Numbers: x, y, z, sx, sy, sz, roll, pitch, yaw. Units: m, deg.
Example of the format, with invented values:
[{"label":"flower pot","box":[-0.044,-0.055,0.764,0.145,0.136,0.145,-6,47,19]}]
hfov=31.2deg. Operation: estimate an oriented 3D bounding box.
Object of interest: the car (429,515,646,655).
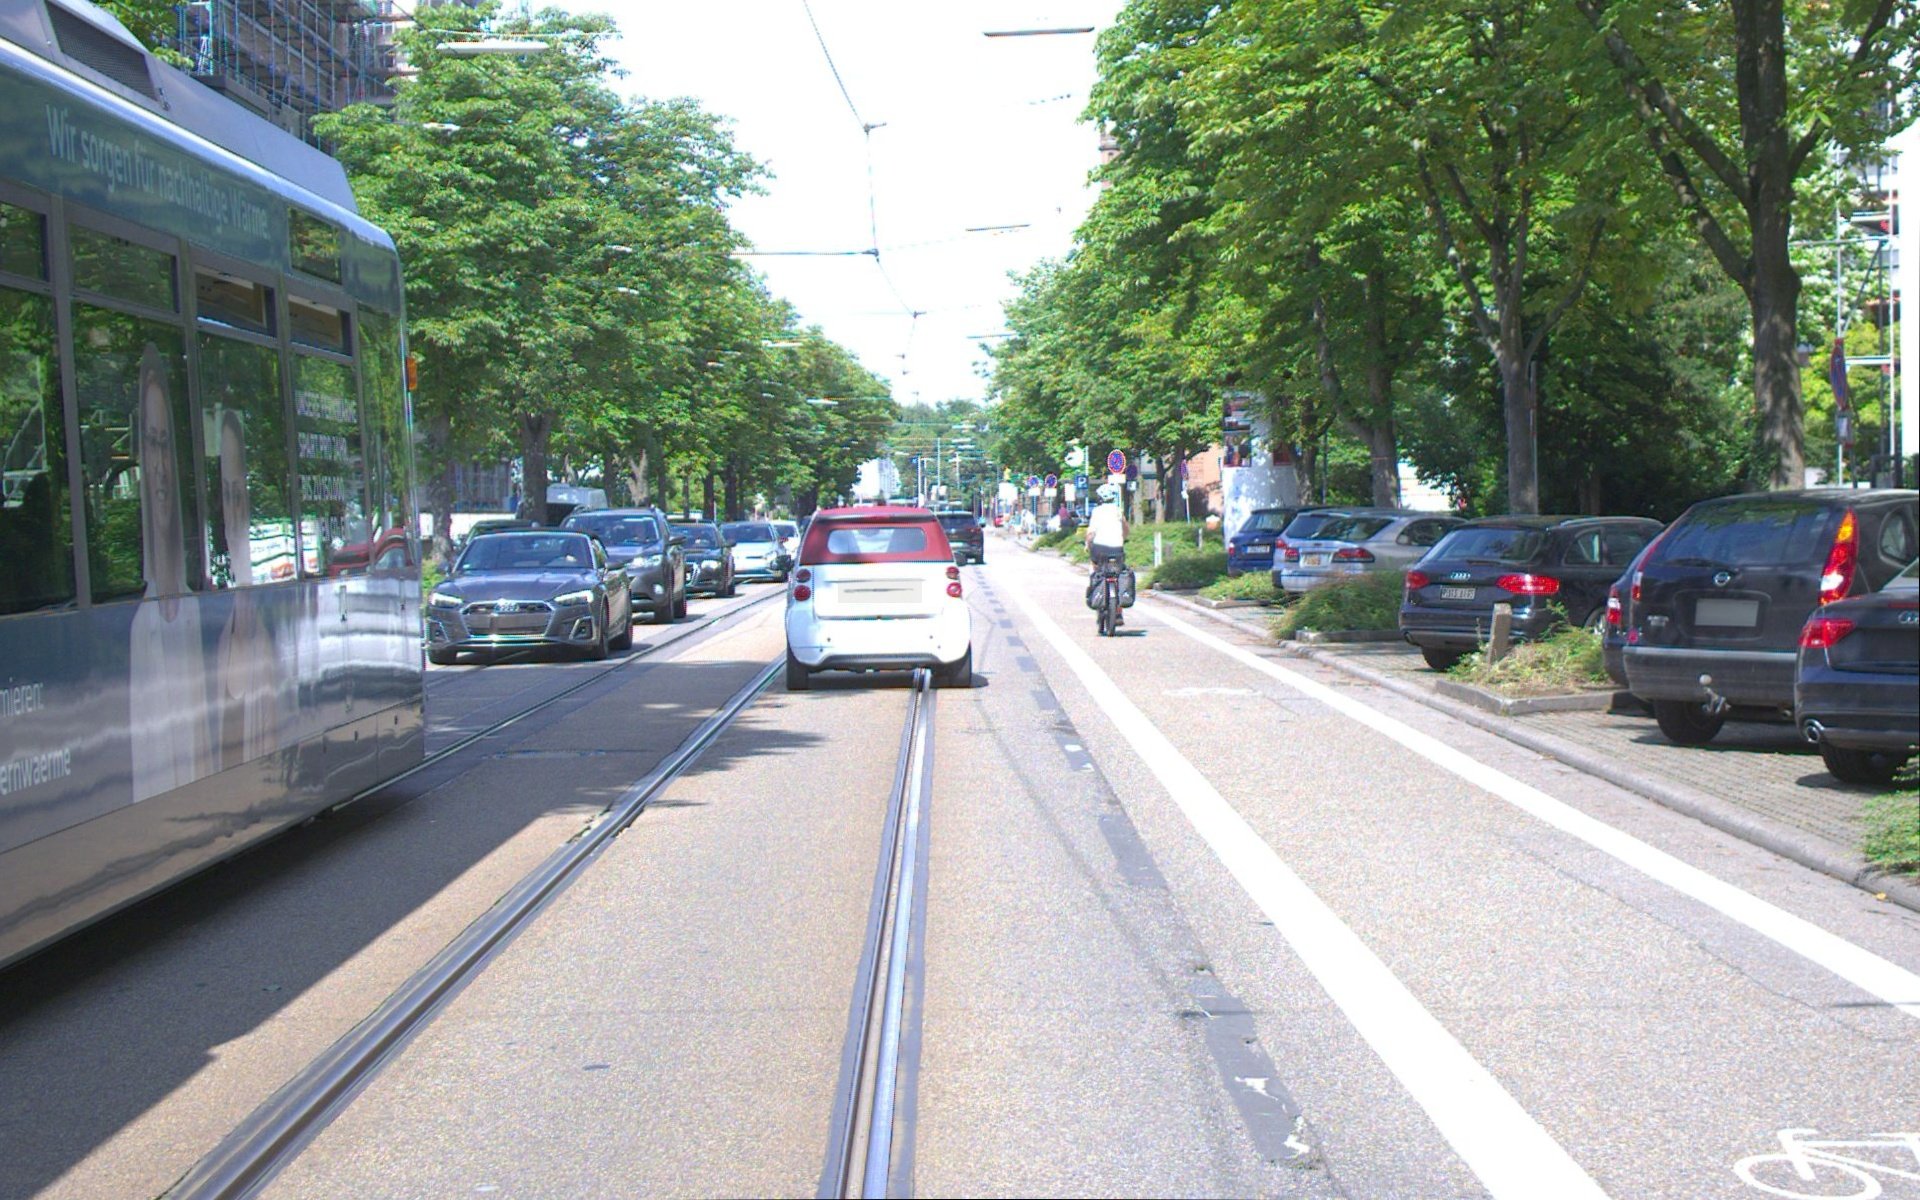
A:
[{"label":"car","box":[-4.477,-0.203,37.001,1.799,1.383,4.426,-1,1,0]}]

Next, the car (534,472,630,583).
[{"label":"car","box":[-9.346,-1.793,85.318,1.769,2.630,5.323,1,1,0]}]

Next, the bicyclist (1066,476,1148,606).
[{"label":"bicyclist","box":[1.773,-0.710,41.318,0.890,1.523,1.085,1,1,6]}]

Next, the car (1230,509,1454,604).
[{"label":"car","box":[6.488,-0.744,58.153,1.615,1.481,3.990,0,2,44]}]

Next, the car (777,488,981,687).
[{"label":"car","box":[-0.684,-0.149,30.288,1.665,1.619,3.621,-1,1,0]}]

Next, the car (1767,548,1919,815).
[{"label":"car","box":[6.407,0.408,18.902,4.164,1.344,1.904,-1,2,-45]}]

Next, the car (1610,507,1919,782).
[{"label":"car","box":[6.143,0.227,21.837,3.989,1.569,1.904,0,2,-42]}]

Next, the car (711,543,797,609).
[{"label":"car","box":[-4.750,-0.571,79.693,1.773,1.411,3.852,-3,1,-1]}]

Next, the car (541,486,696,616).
[{"label":"car","box":[-4.807,-0.706,48.869,1.825,1.721,4.392,1,1,-1]}]

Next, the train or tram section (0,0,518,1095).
[{"label":"train or tram section","box":[-3.916,-0.382,12.590,2.652,3.344,14.109,-3,1,0]}]

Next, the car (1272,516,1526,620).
[{"label":"car","box":[6.589,-0.501,51.441,3.795,1.469,1.652,-1,3,-41]}]

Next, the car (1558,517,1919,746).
[{"label":"car","box":[6.312,0.162,25.209,4.065,1.438,1.725,-3,4,-44]}]

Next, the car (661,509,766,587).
[{"label":"car","box":[-4.584,-0.976,64.316,1.723,1.371,4.000,-2,1,-1]}]

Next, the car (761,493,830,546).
[{"label":"car","box":[-4.532,-2.220,95.363,1.686,1.400,4.227,-1,1,0]}]

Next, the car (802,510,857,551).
[{"label":"car","box":[-4.884,-2.595,129.133,1.800,1.503,4.536,0,1,1]}]

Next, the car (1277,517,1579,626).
[{"label":"car","box":[6.604,-0.430,48.330,4.230,1.415,1.723,-1,3,-38]}]

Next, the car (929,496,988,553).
[{"label":"car","box":[-0.056,-2.225,101.080,1.665,1.619,3.621,-1,2,0]}]

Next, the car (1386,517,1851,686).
[{"label":"car","box":[6.146,0.005,31.780,2.030,1.437,4.524,2,1,45]}]

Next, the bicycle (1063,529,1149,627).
[{"label":"bicycle","box":[1.756,-0.273,41.042,0.875,1.122,2.135,1,1,6]}]
